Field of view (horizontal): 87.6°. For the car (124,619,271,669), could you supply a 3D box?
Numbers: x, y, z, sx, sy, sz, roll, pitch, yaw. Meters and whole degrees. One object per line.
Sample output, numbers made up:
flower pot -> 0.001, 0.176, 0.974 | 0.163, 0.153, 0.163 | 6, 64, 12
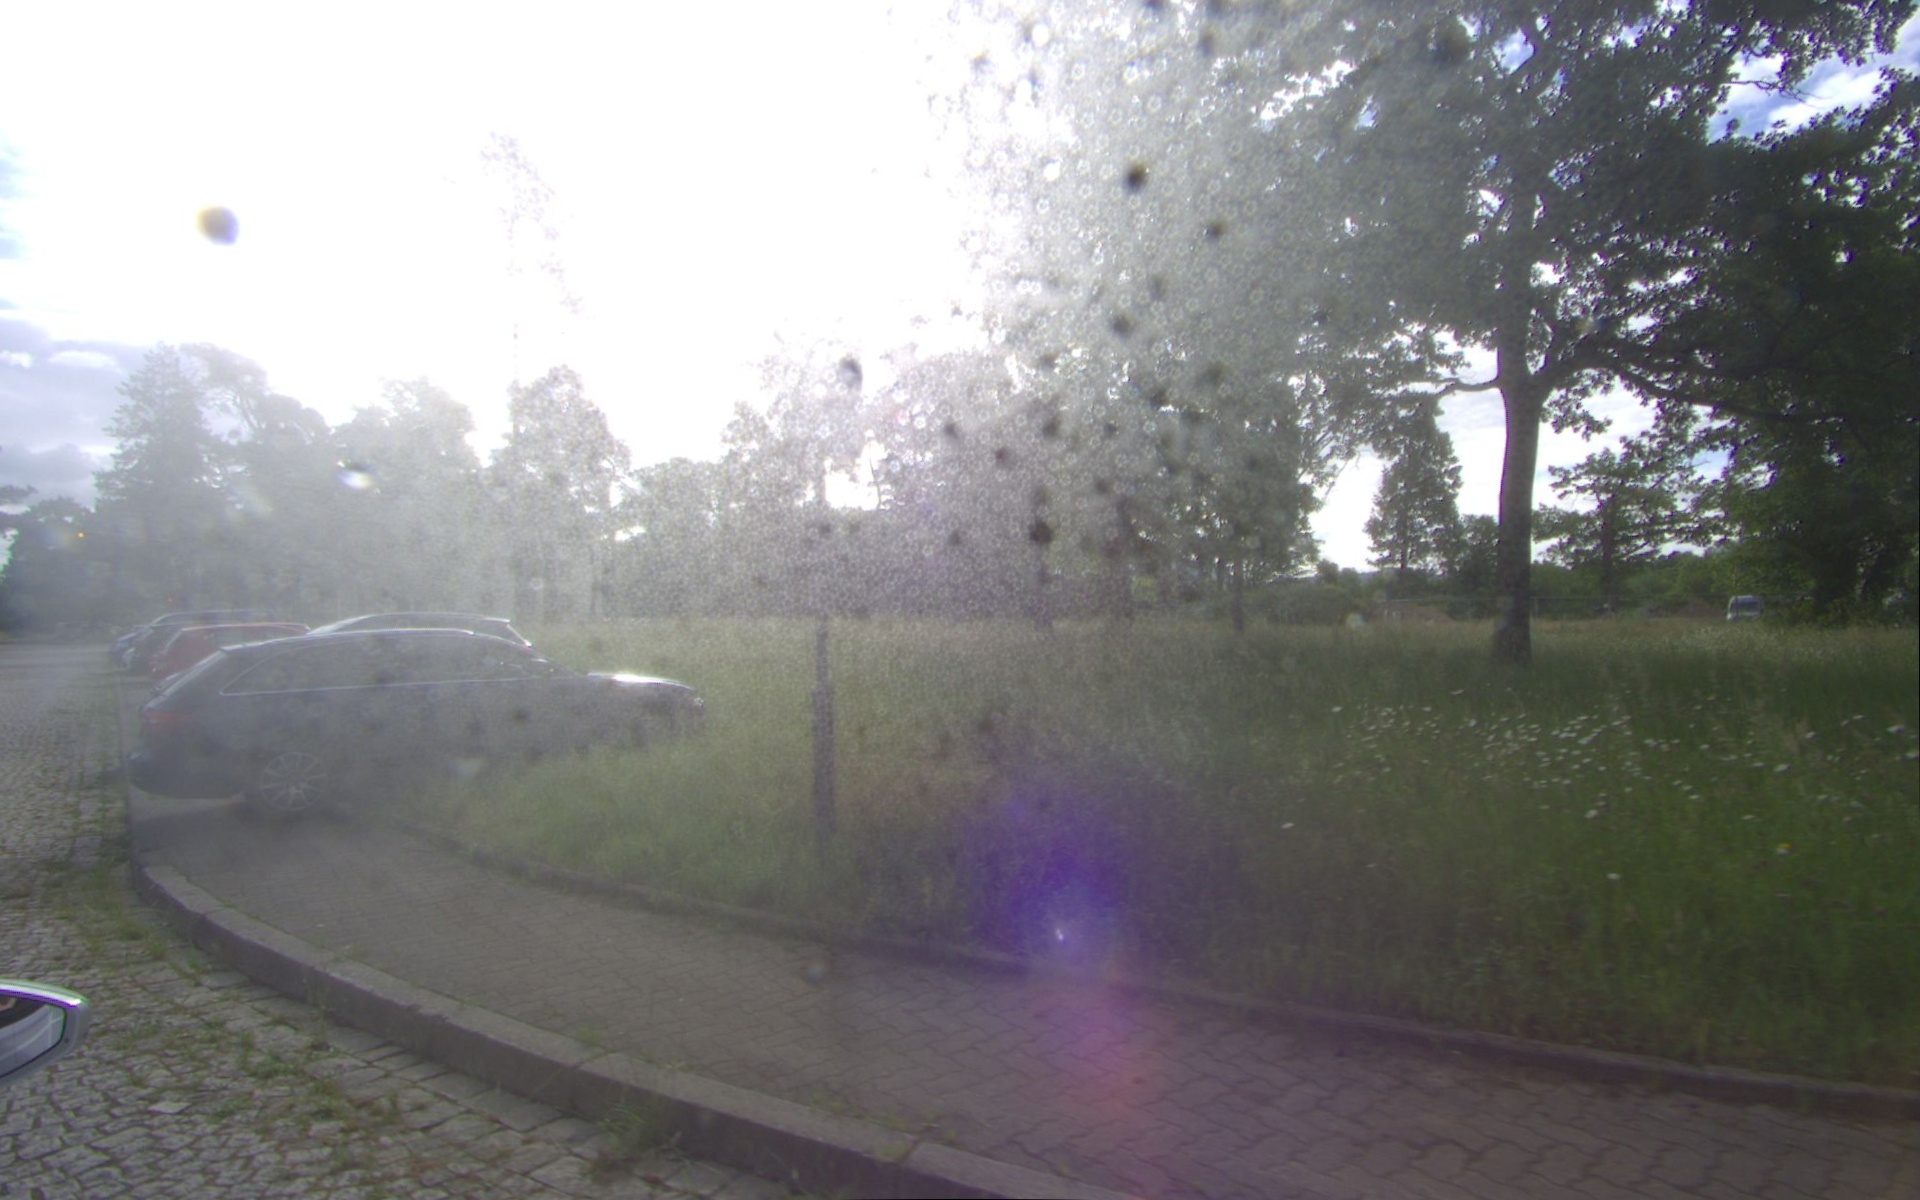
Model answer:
car -> -25.090, 1.402, 33.026 | 3.696, 1.443, 1.639 | -2, 1, -44

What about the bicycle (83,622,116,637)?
bicycle -> -75.586, 2.595, 87.992 | 0.803, 1.285, 2.149 | 0, -1, 43

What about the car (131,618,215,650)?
car -> -41.710, 1.772, 53.117 | 1.376, 1.564, 3.369 | 0, 0, 43

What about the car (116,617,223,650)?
car -> -40.235, 1.670, 51.023 | 1.646, 1.564, 4.099 | 0, 0, 43

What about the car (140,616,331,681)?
car -> -19.087, 1.219, 26.457 | 3.956, 1.538, 1.723 | 0, 0, -41

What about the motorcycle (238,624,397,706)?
motorcycle -> -11.162, 1.092, 17.478 | 0.599, 1.292, 2.251 | -1, 0, 44

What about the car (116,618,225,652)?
car -> -38.471, 1.684, 48.852 | 1.646, 1.564, 3.964 | 0, 0, 43

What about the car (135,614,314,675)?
car -> -20.685, 1.200, 28.242 | 3.922, 1.601, 1.746 | 0, -1, -43

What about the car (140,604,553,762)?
car -> -7.685, 0.903, 12.786 | 4.230, 1.594, 1.878 | -2, 1, -41

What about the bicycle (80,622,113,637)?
bicycle -> -76.920, 2.641, 89.198 | 0.803, 1.285, 2.149 | 0, -1, 43

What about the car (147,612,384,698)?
car -> -14.205, 1.053, 20.604 | 3.811, 1.525, 1.722 | -1, 1, -42

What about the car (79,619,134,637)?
car -> -84.611, 2.742, 99.254 | 1.979, 1.665, 3.965 | -1, -1, 43

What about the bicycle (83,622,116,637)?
bicycle -> -75.965, 2.612, 88.434 | 0.803, 1.285, 2.149 | 0, -1, 43

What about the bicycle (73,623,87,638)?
bicycle -> -74.116, 2.562, 84.330 | 0.803, 1.285, 1.957 | 0, -1, -39

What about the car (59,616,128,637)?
car -> -87.434, 2.678, 101.103 | 1.976, 2.040, 5.030 | -1, -1, 39

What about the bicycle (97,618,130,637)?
bicycle -> -75.724, 2.476, 89.579 | 0.803, 1.637, 2.149 | 0, 0, 43

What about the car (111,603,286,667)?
car -> -26.571, 1.158, 35.060 | 4.749, 2.067, 1.722 | 0, 0, -43

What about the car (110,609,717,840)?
car -> -4.713, 0.894, 9.127 | 4.464, 1.484, 1.881 | -2, 1, -38
